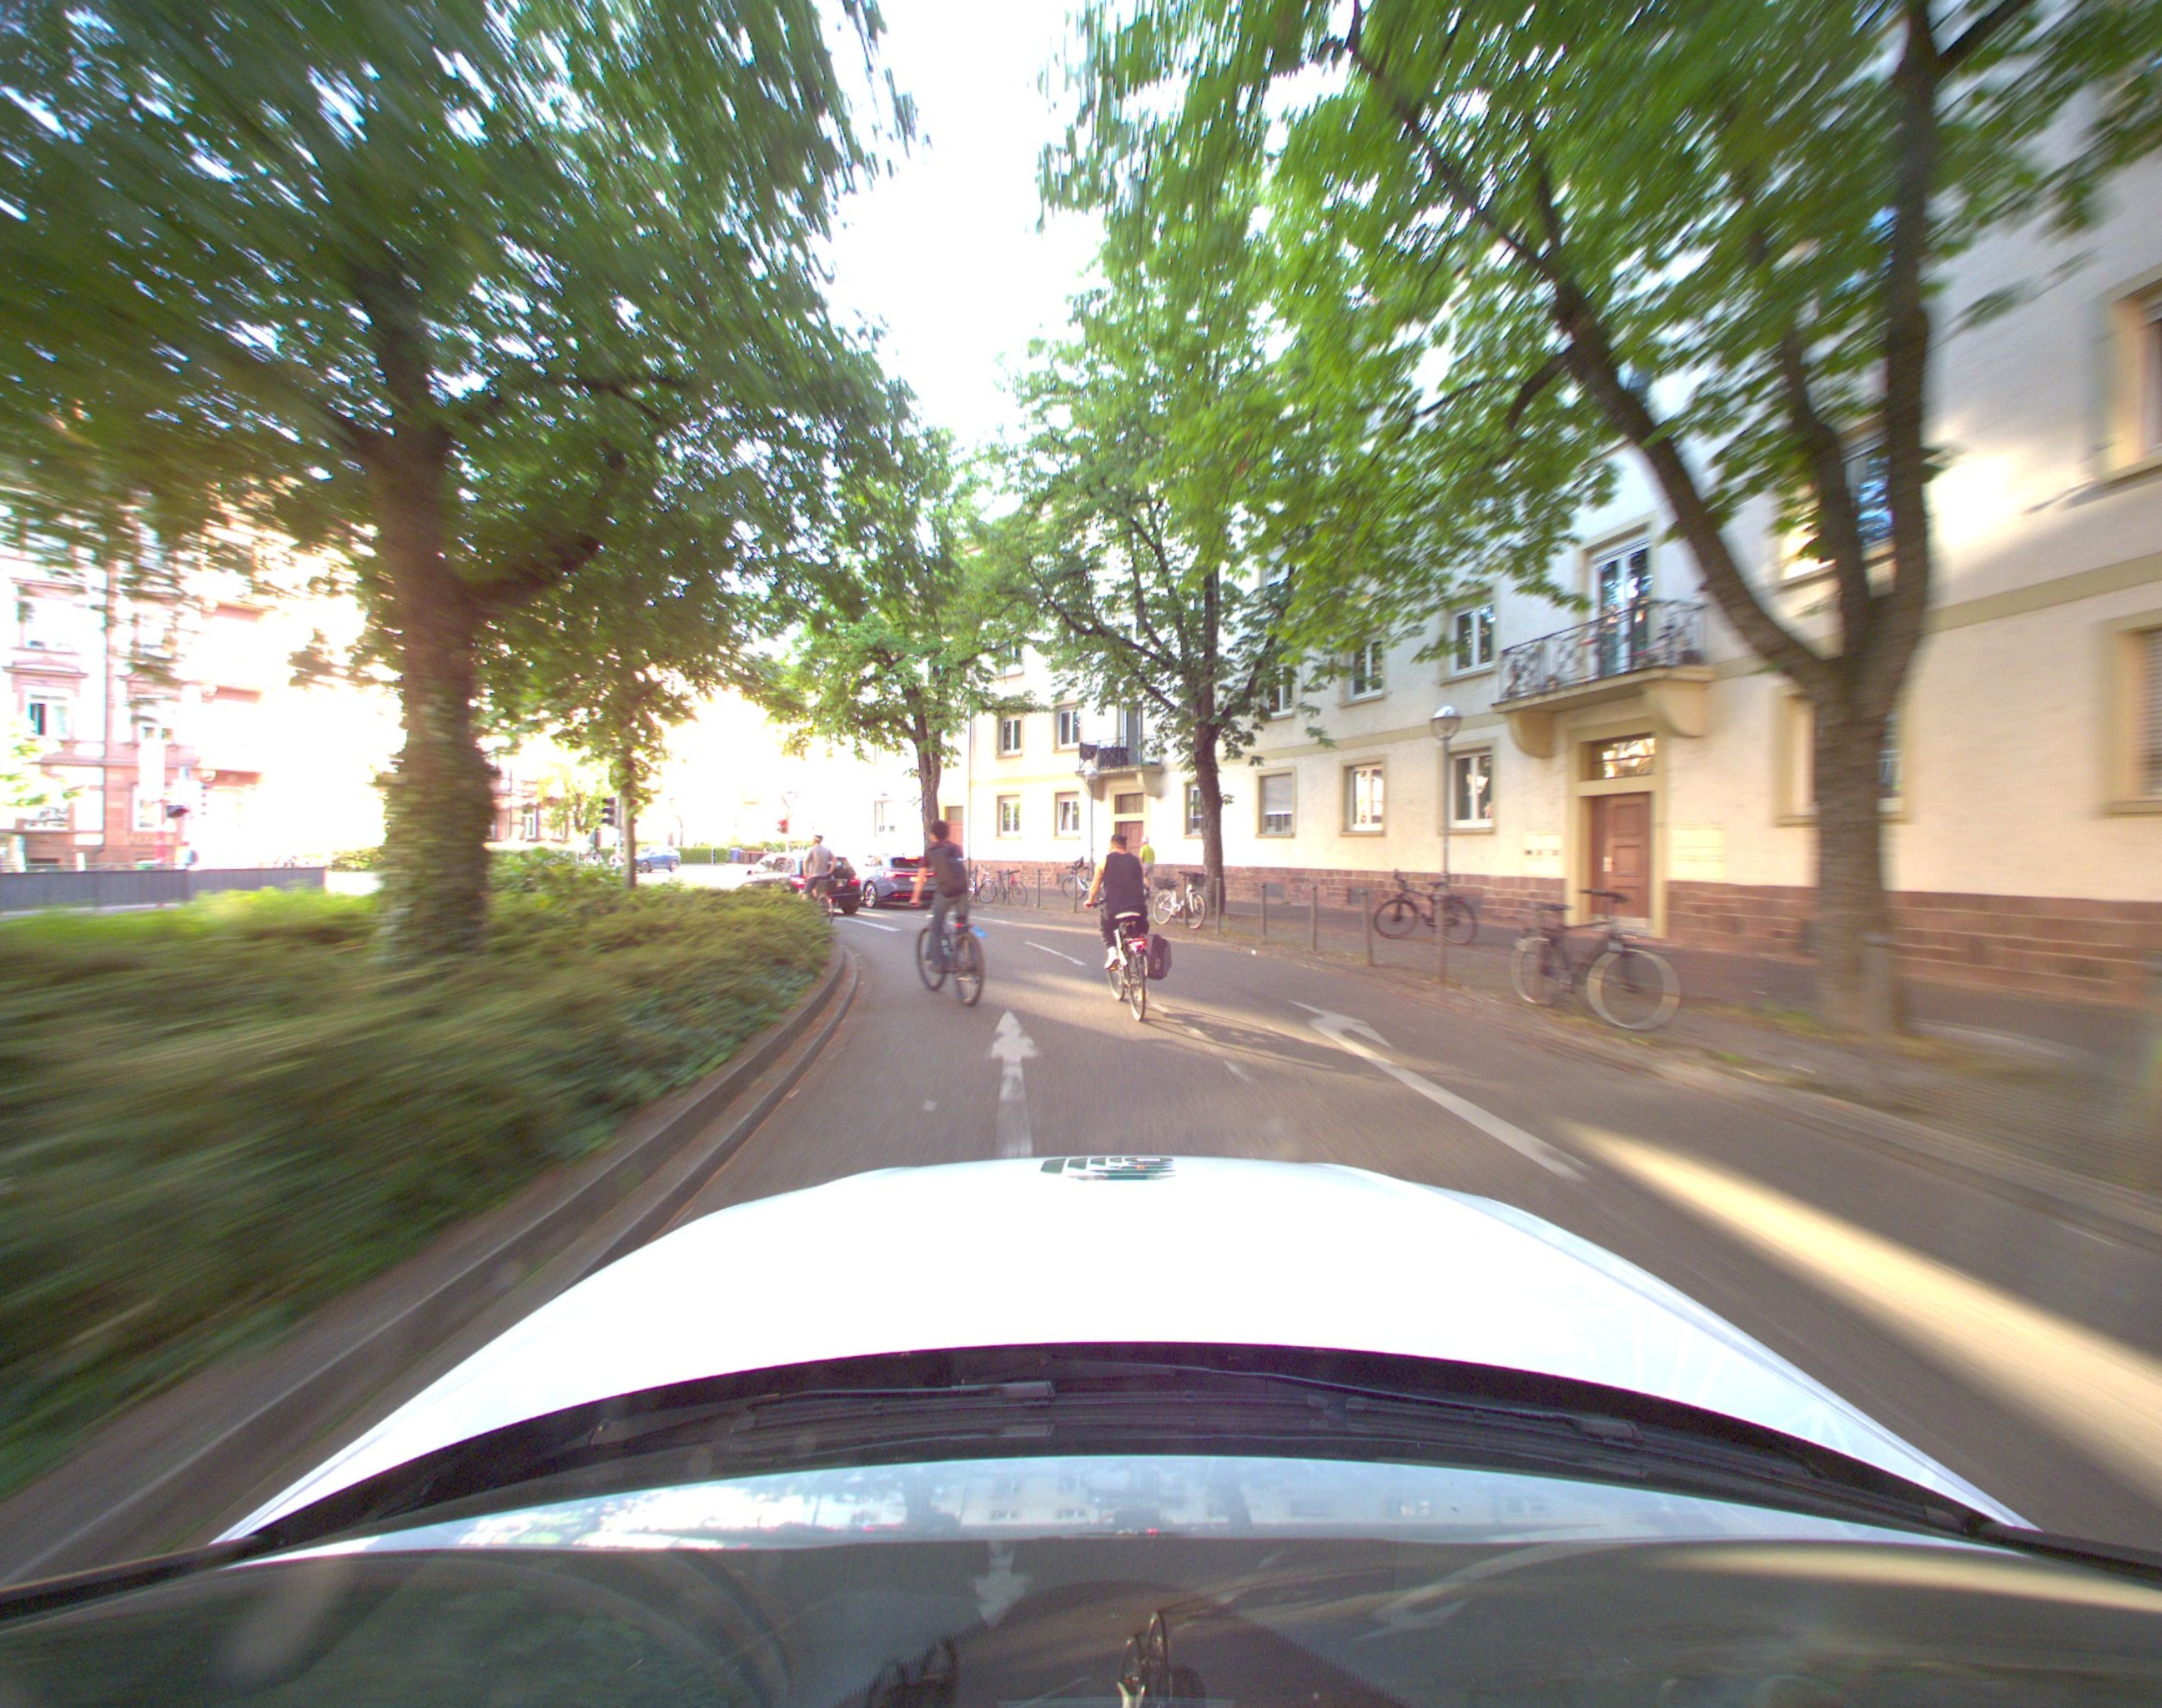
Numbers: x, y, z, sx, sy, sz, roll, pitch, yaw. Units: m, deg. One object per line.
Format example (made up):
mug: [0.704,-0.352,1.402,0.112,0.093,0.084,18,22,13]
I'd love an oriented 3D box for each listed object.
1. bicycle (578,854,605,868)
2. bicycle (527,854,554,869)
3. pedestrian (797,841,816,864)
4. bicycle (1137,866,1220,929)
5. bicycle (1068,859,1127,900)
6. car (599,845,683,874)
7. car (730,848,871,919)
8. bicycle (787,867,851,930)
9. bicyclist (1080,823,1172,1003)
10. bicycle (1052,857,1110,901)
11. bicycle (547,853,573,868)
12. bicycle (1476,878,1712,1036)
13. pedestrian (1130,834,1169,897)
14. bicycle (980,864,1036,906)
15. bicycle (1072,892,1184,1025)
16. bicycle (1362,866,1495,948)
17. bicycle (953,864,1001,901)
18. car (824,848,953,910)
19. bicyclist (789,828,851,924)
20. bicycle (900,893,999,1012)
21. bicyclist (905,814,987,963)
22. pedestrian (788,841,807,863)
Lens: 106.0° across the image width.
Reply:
bicycle: [-30.425,0.438,50.639,0.445,0.861,1.455,1,0,24]
bicycle: [-31.233,0.431,47.067,0.445,0.861,1.231,1,0,24]
pedestrian: [-24.496,-0.146,72.675,1.153,1.962,1.389,1,0,4]
bicycle: [1.939,0.836,16.499,0.619,1.112,1.974,-3,2,-29]
bicycle: [0.457,0.716,23.712,0.586,1.114,2.094,-1,1,-36]
car: [-25.511,0.287,47.438,1.982,1.496,4.387,1,2,9]
car: [-7.073,0.664,20.363,1.829,1.543,3.910,-2,1,-44]
bicycle: [-5.420,0.882,16.761,0.602,1.161,2.018,1,0,-38]
bicyclist: [0.426,0.549,8.109,0.752,1.682,0.911,0,0,-8]
bicycle: [-0.028,0.689,23.360,0.498,1.172,2.094,-4,3,-36]
bicycle: [-30.815,0.396,48.206,0.445,0.861,1.231,1,0,24]
bicycle: [4.526,0.837,7.397,0.679,1.158,1.995,-1,0,-9]
pedestrian: [1.982,0.317,23.642,0.651,1.795,1.004,0,1,41]
bicycle: [-2.049,0.846,22.586,0.621,1.058,1.907,-2,2,-38]
bicycle: [0.408,0.962,8.178,0.737,1.012,2.056,-1,1,-7]
bicycle: [5.471,0.800,12.929,0.677,1.182,1.801,-2,0,-38]
bicycle: [-3.074,0.810,23.792,0.523,0.999,2.169,0,0,-32]
car: [-5.506,0.628,23.011,1.908,1.577,3.952,0,0,-42]
bicyclist: [-5.367,0.426,16.731,0.858,1.898,1.126,0,0,-40]
bicycle: [-1.486,0.991,8.858,0.676,1.054,2.047,0,-1,-20]
bicyclist: [-1.487,0.349,8.855,0.674,1.514,1.061,0,0,-22]
pedestrian: [-25.466,-0.181,73.105,1.153,1.962,1.389,1,0,4]
